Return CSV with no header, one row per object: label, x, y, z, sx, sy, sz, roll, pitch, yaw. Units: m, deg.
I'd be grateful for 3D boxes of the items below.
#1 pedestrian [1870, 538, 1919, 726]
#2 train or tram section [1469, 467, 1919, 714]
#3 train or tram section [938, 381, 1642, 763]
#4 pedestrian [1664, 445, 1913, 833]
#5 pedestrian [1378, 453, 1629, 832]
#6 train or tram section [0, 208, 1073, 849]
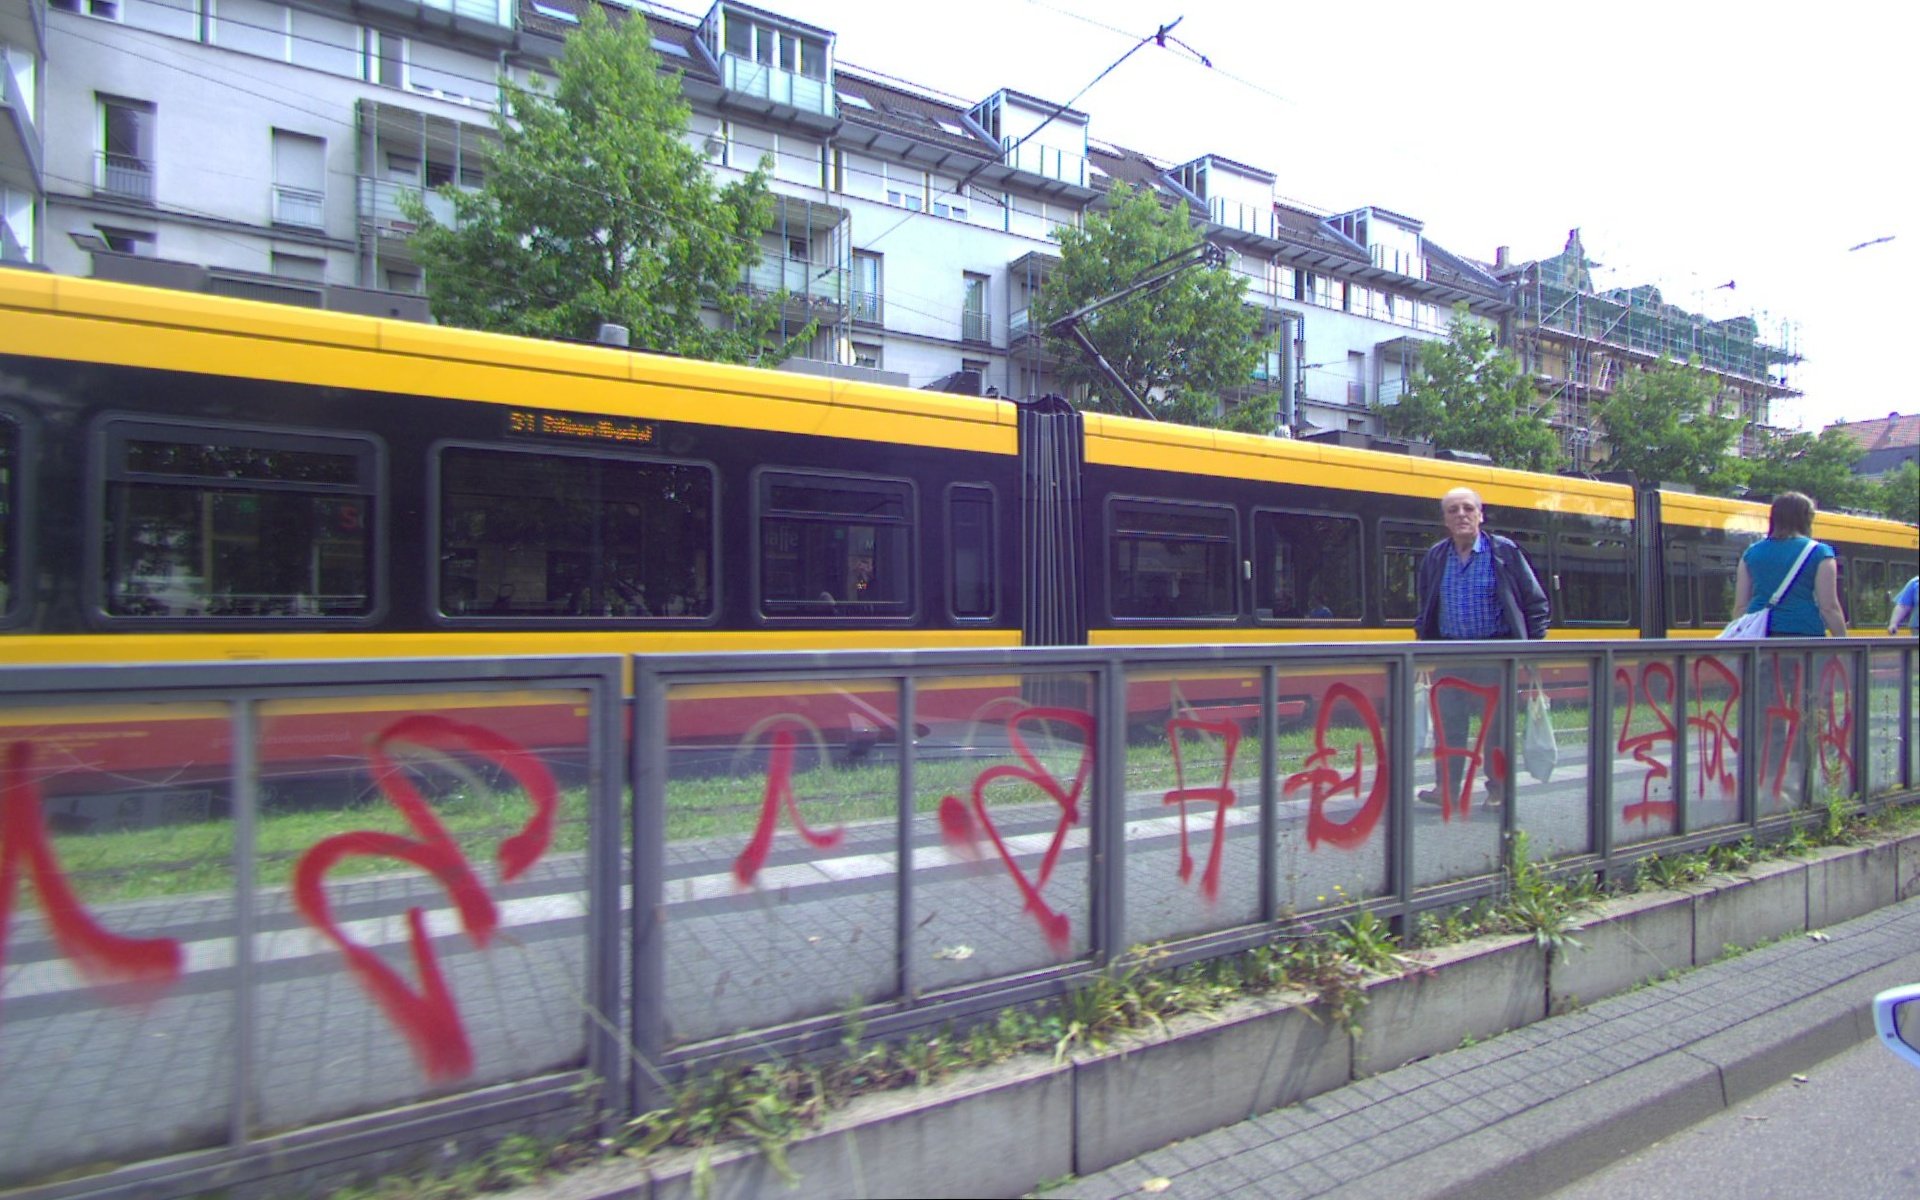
pedestrian,9.938,0.329,10.283,0.897,1.874,0.698,1,-1,-31
train or tram section,14.905,-0.059,19.210,12.862,3.632,2.711,1,0,-30
train or tram section,4.865,-0.199,13.339,10.280,3.632,2.783,1,0,-30
pedestrian,4.562,0.203,5.549,0.836,1.924,0.823,1,-1,-29
pedestrian,2.885,0.211,5.364,0.866,1.798,0.854,1,-1,-29
train or tram section,-5.176,-0.384,7.461,12.862,3.632,2.794,1,0,-30
